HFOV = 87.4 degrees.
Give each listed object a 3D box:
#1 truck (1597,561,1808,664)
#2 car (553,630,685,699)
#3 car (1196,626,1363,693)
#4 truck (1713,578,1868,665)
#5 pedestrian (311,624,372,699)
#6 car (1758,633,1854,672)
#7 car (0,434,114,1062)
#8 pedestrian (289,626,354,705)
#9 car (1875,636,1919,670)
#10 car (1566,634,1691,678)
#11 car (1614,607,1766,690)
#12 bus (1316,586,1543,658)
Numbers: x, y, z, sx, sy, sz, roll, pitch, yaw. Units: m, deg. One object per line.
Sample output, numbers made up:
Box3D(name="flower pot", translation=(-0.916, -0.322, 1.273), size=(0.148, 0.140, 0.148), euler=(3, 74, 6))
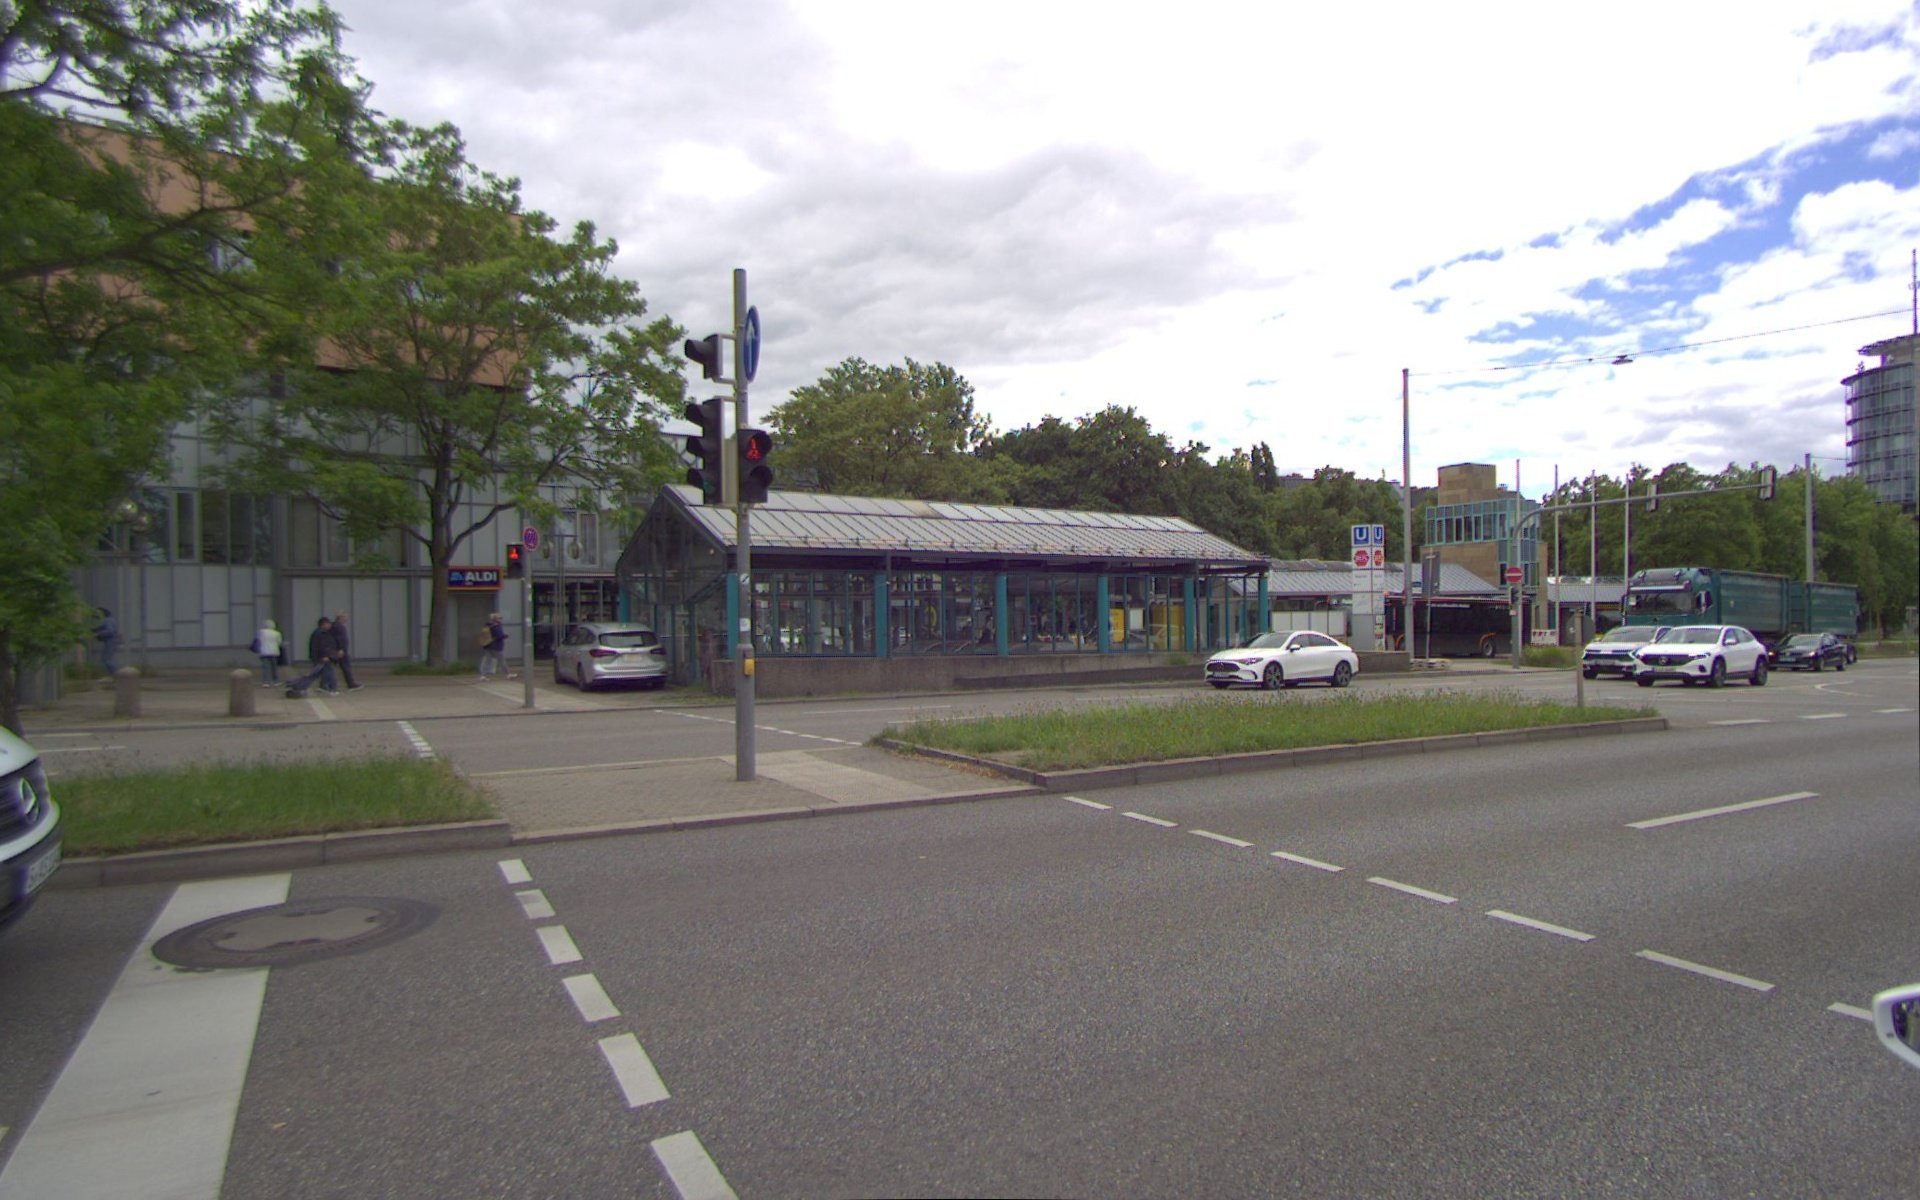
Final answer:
Box3D(name="truck", translation=(30.709, 0.618, 41.293), size=(11.161, 3.777, 3.348), euler=(2, -1, -33))
Box3D(name="car", translation=(-7.796, 1.387, 22.737), size=(1.978, 1.372, 3.965), euler=(1, -2, -32))
Box3D(name="car", translation=(8.244, 1.475, 25.775), size=(4.460, 1.594, 1.722), euler=(2, -2, -34))
Box3D(name="truck", translation=(39.165, 1.076, 47.318), size=(7.939, 3.776, 3.350), euler=(2, -2, -32))
Box3D(name="pedestrian", translation=(-12.828, 1.256, 20.838), size=(0.592, 1.477, 0.869), euler=(1, 0, 26))
Box3D(name="car", translation=(32.752, 1.995, 38.861), size=(3.958, 1.436, 1.787), euler=(1, -2, -33))
Box3D(name="car", translation=(-5.550, 0.445, 2.477), size=(5.016, 2.041, 1.864), euler=(1, 1, -31))
Box3D(name="pedestrian", translation=(-12.468, 1.255, 19.620), size=(0.592, 1.477, 0.870), euler=(1, -1, 25))
Box3D(name="car", translation=(45.845, 2.521, 48.177), size=(3.957, 1.595, 1.982), euler=(1, -2, -33))
Box3D(name="car", translation=(20.632, 1.692, 30.973), size=(3.958, 1.279, 1.819), euler=(1, -2, -34))
Box3D(name="car", translation=(19.419, 1.266, 26.687), size=(4.136, 2.040, 1.982), euler=(1, -2, -34))
Box3D(name="bus", translation=(22.583, 1.130, 47.955), size=(11.999, 3.175, 2.947), euler=(2, -1, -26))
